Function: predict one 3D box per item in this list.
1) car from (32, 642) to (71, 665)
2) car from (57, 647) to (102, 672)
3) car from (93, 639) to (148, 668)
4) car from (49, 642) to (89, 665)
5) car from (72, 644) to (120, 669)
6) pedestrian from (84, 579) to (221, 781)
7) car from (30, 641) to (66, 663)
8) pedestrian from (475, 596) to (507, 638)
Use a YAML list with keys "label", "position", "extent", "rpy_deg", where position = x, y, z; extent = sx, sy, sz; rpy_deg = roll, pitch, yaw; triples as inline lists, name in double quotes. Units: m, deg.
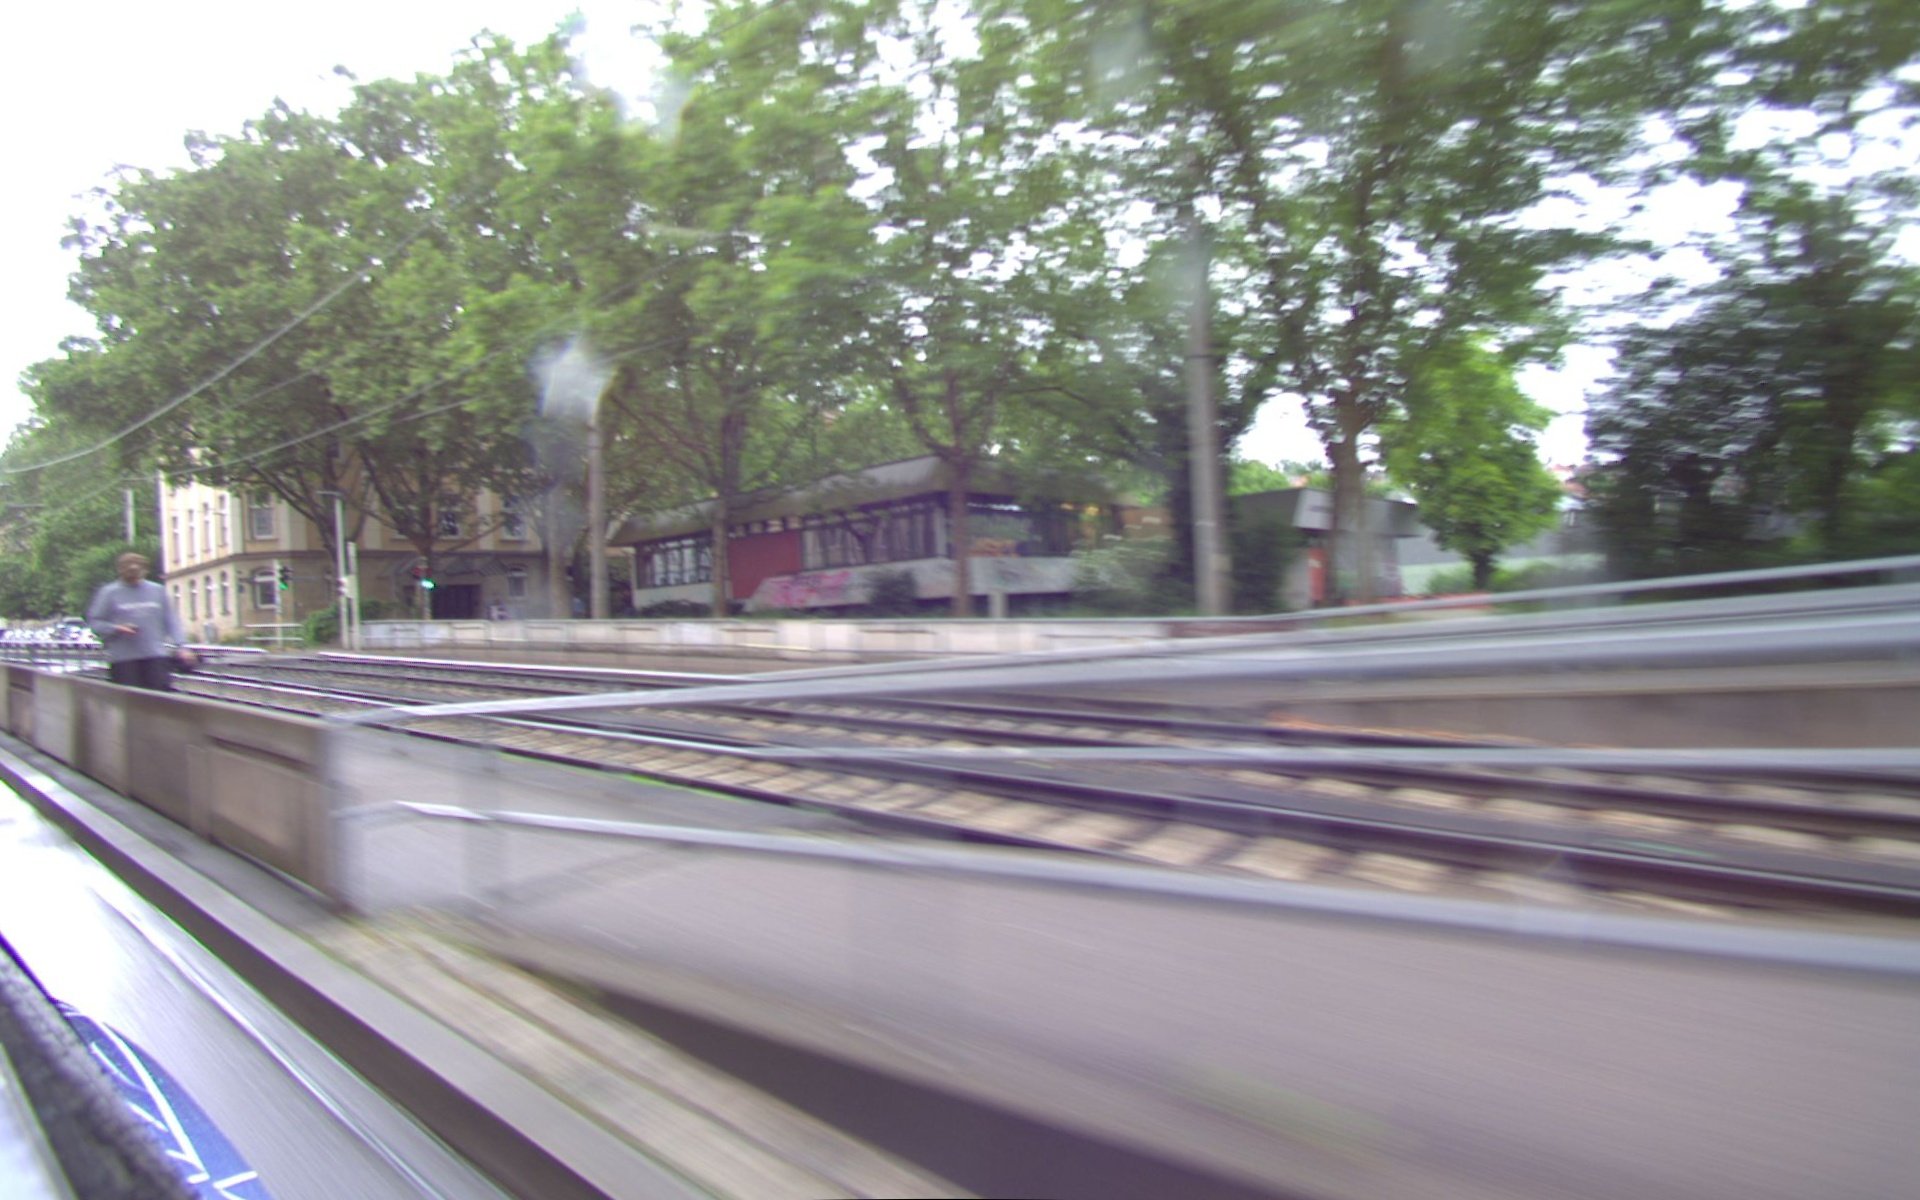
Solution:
- label: "car"
  position: [-63.963, 3.779, 71.236]
  extent: [3.496, 1.460, 1.465]
  rpy_deg: [-3, -1, 39]
- label: "car"
  position: [-56.123, 3.787, 64.497]
  extent: [3.513, 1.411, 1.625]
  rpy_deg: [-3, -1, 40]
- label: "car"
  position: [-48.726, 3.066, 58.730]
  extent: [3.805, 1.488, 1.867]
  rpy_deg: [-2, 1, 42]
- label: "car"
  position: [-59.880, 3.586, 67.975]
  extent: [3.278, 1.411, 1.465]
  rpy_deg: [-3, -1, 39]
- label: "car"
  position: [-52.309, 3.424, 61.289]
  extent: [3.513, 1.411, 1.625]
  rpy_deg: [-3, -1, 40]
- label: "pedestrian"
  position: [-7.760, 0.730, 9.731]
  extent: [0.787, 1.812, 0.850]
  rpy_deg: [-2, 0, 40]
- label: "car"
  position: [-67.085, 3.820, 74.427]
  extent: [3.310, 1.520, 1.385]
  rpy_deg: [-3, -1, 38]
- label: "pedestrian"
  position: [-21.038, 0.763, 45.400]
  extent: [0.865, 1.812, 0.856]
  rpy_deg: [-2, 0, 21]
